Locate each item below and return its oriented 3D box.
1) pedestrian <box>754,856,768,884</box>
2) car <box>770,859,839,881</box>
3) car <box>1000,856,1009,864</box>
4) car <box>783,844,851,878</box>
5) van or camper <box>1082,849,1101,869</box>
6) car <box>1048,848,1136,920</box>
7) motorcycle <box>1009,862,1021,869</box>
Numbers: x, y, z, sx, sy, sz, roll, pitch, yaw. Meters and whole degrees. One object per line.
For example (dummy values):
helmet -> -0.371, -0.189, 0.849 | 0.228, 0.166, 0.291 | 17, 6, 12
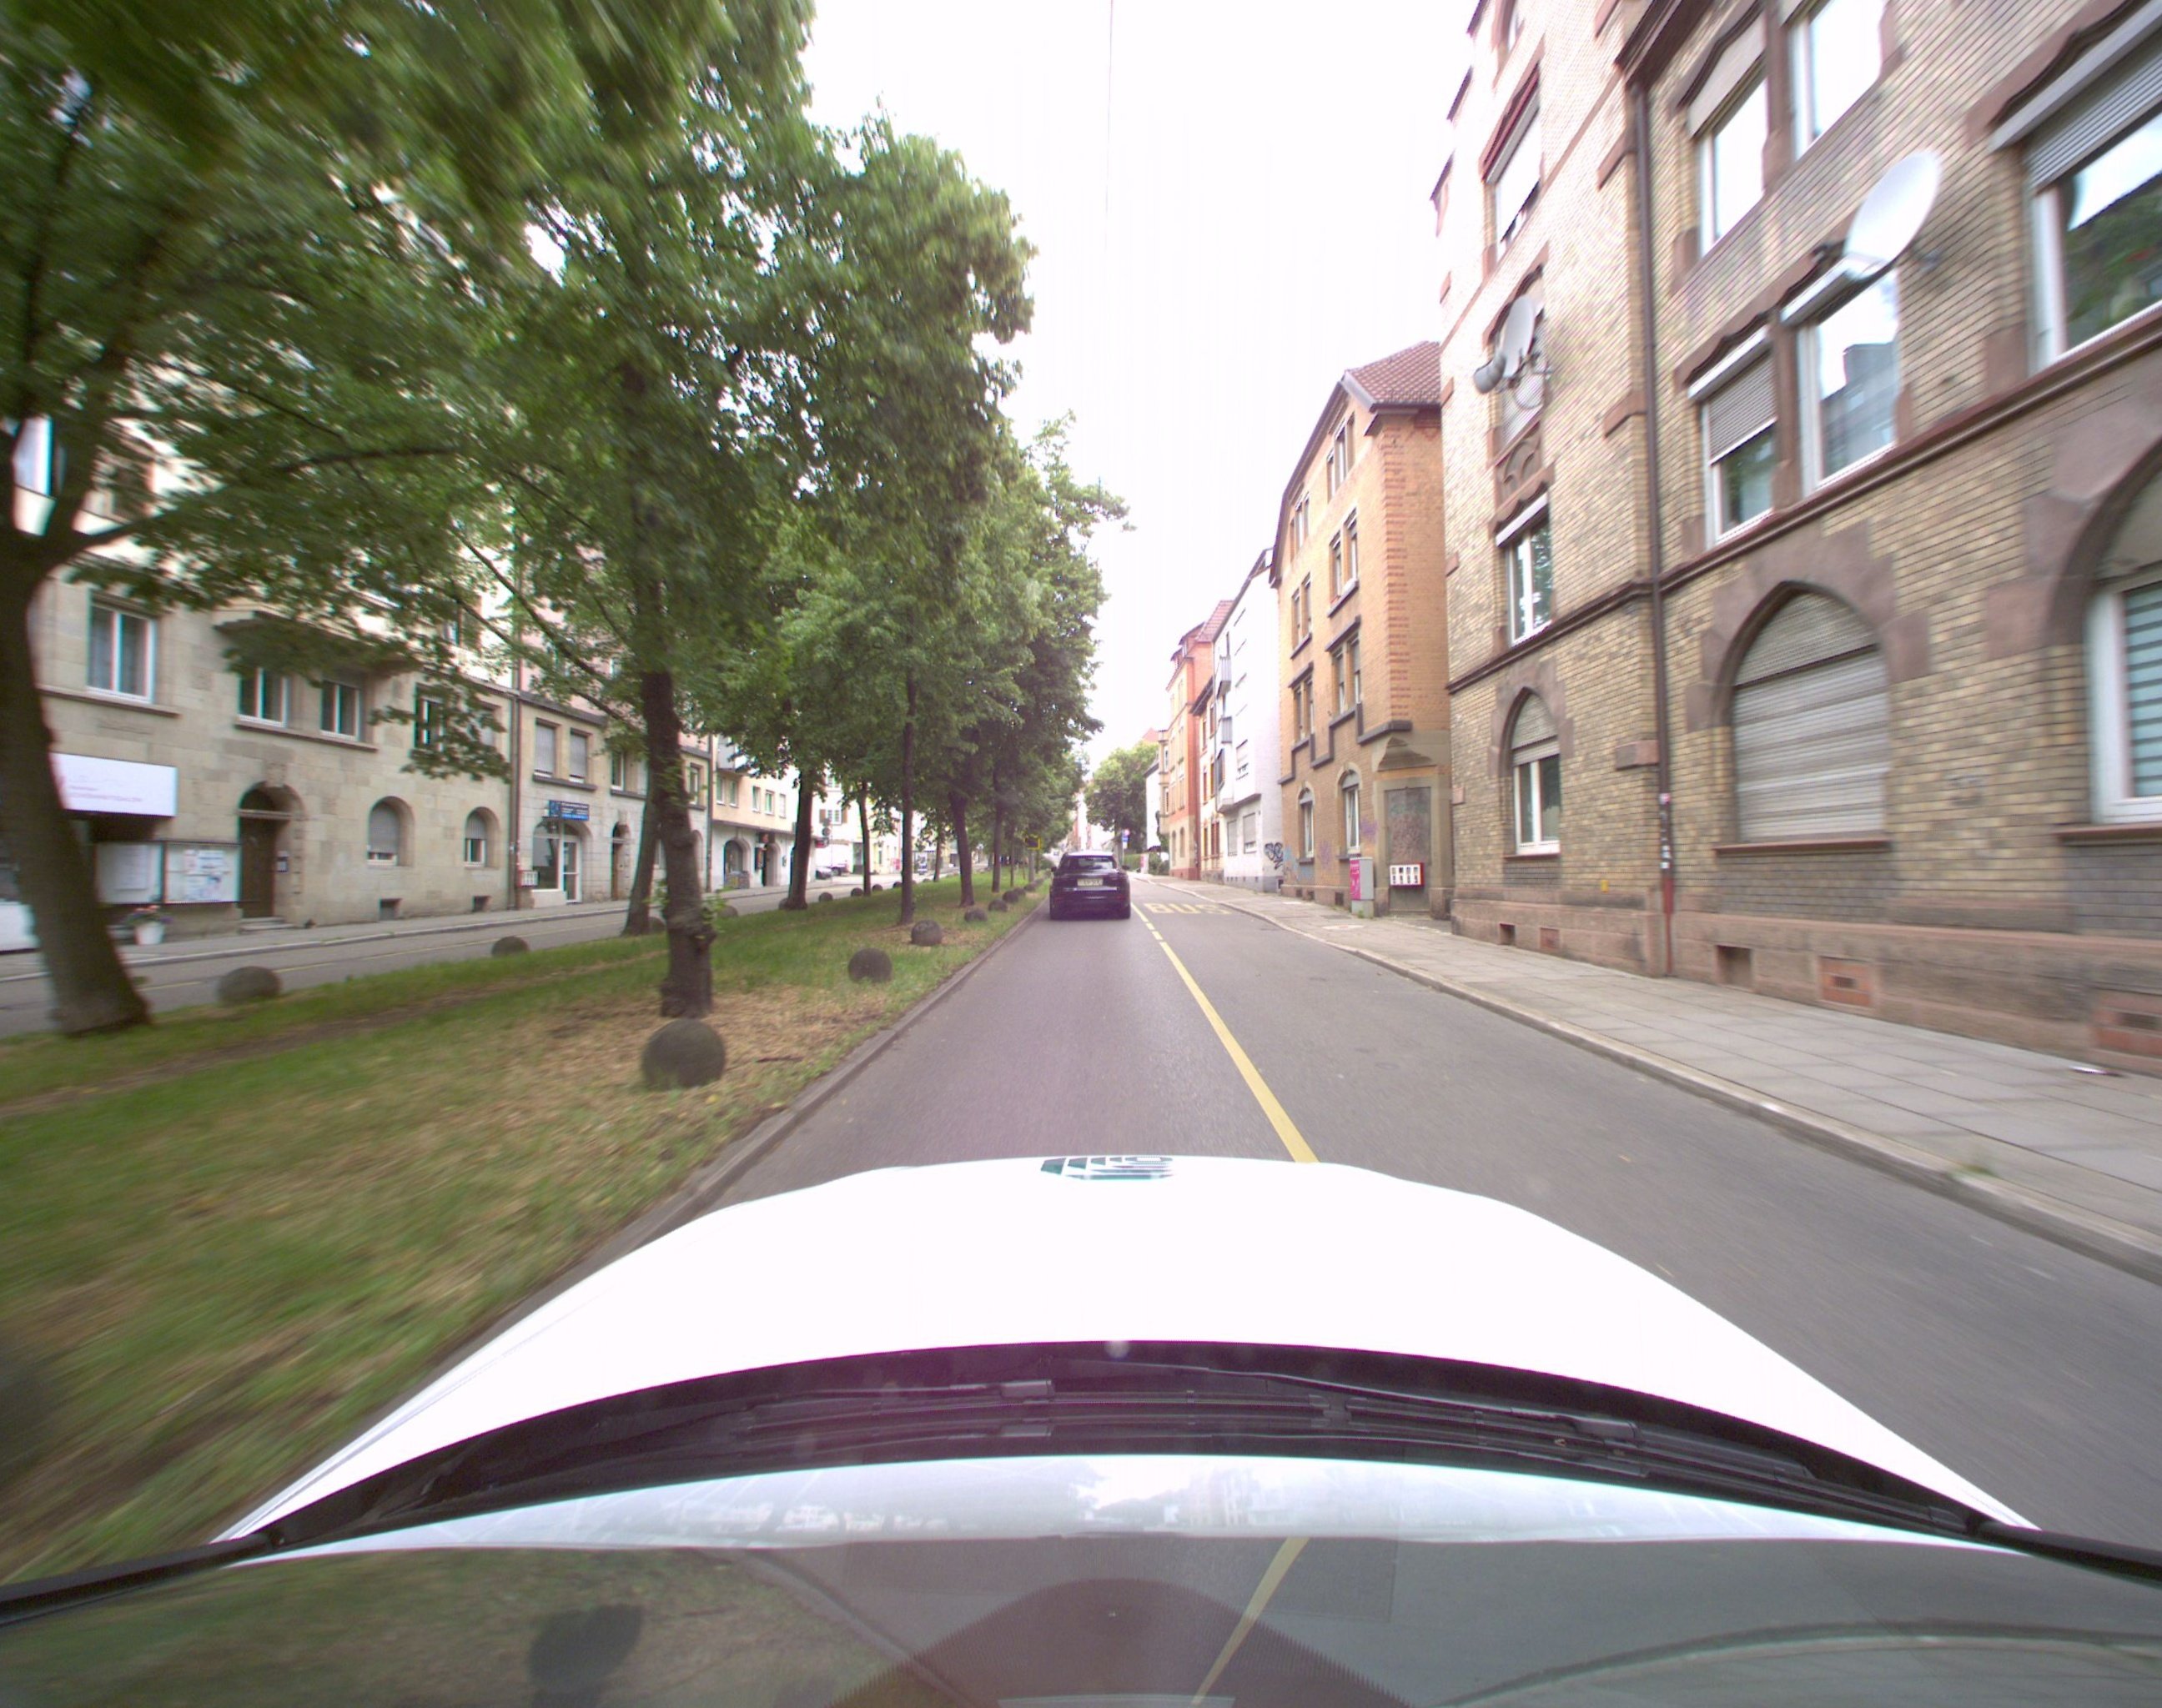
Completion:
pedestrian -> -19.226, 0.947, 48.925 | 0.530, 1.666, 0.700 | -1, -1, -1
car -> -20.189, 1.134, 59.605 | 4.275, 1.420, 2.047 | 2, 0, -1
car -> -18.359, 1.449, 195.882 | 1.946, 1.628, 4.357 | -8, 0, -4
car -> -22.072, 0.617, 68.262 | 5.174, 2.736, 2.169 | 1, -1, -11
van or camper -> 1.558, 0.759, 121.432 | 2.474, 2.803, 7.231 | 0, -1, -2
car -> 0.167, 0.717, 21.052 | 1.900, 1.666, 4.128 | 0, -1, -5
motorcycle -> -12.822, 2.170, 157.819 | 2.378, 1.317, 1.044 | 0, -1, -5
